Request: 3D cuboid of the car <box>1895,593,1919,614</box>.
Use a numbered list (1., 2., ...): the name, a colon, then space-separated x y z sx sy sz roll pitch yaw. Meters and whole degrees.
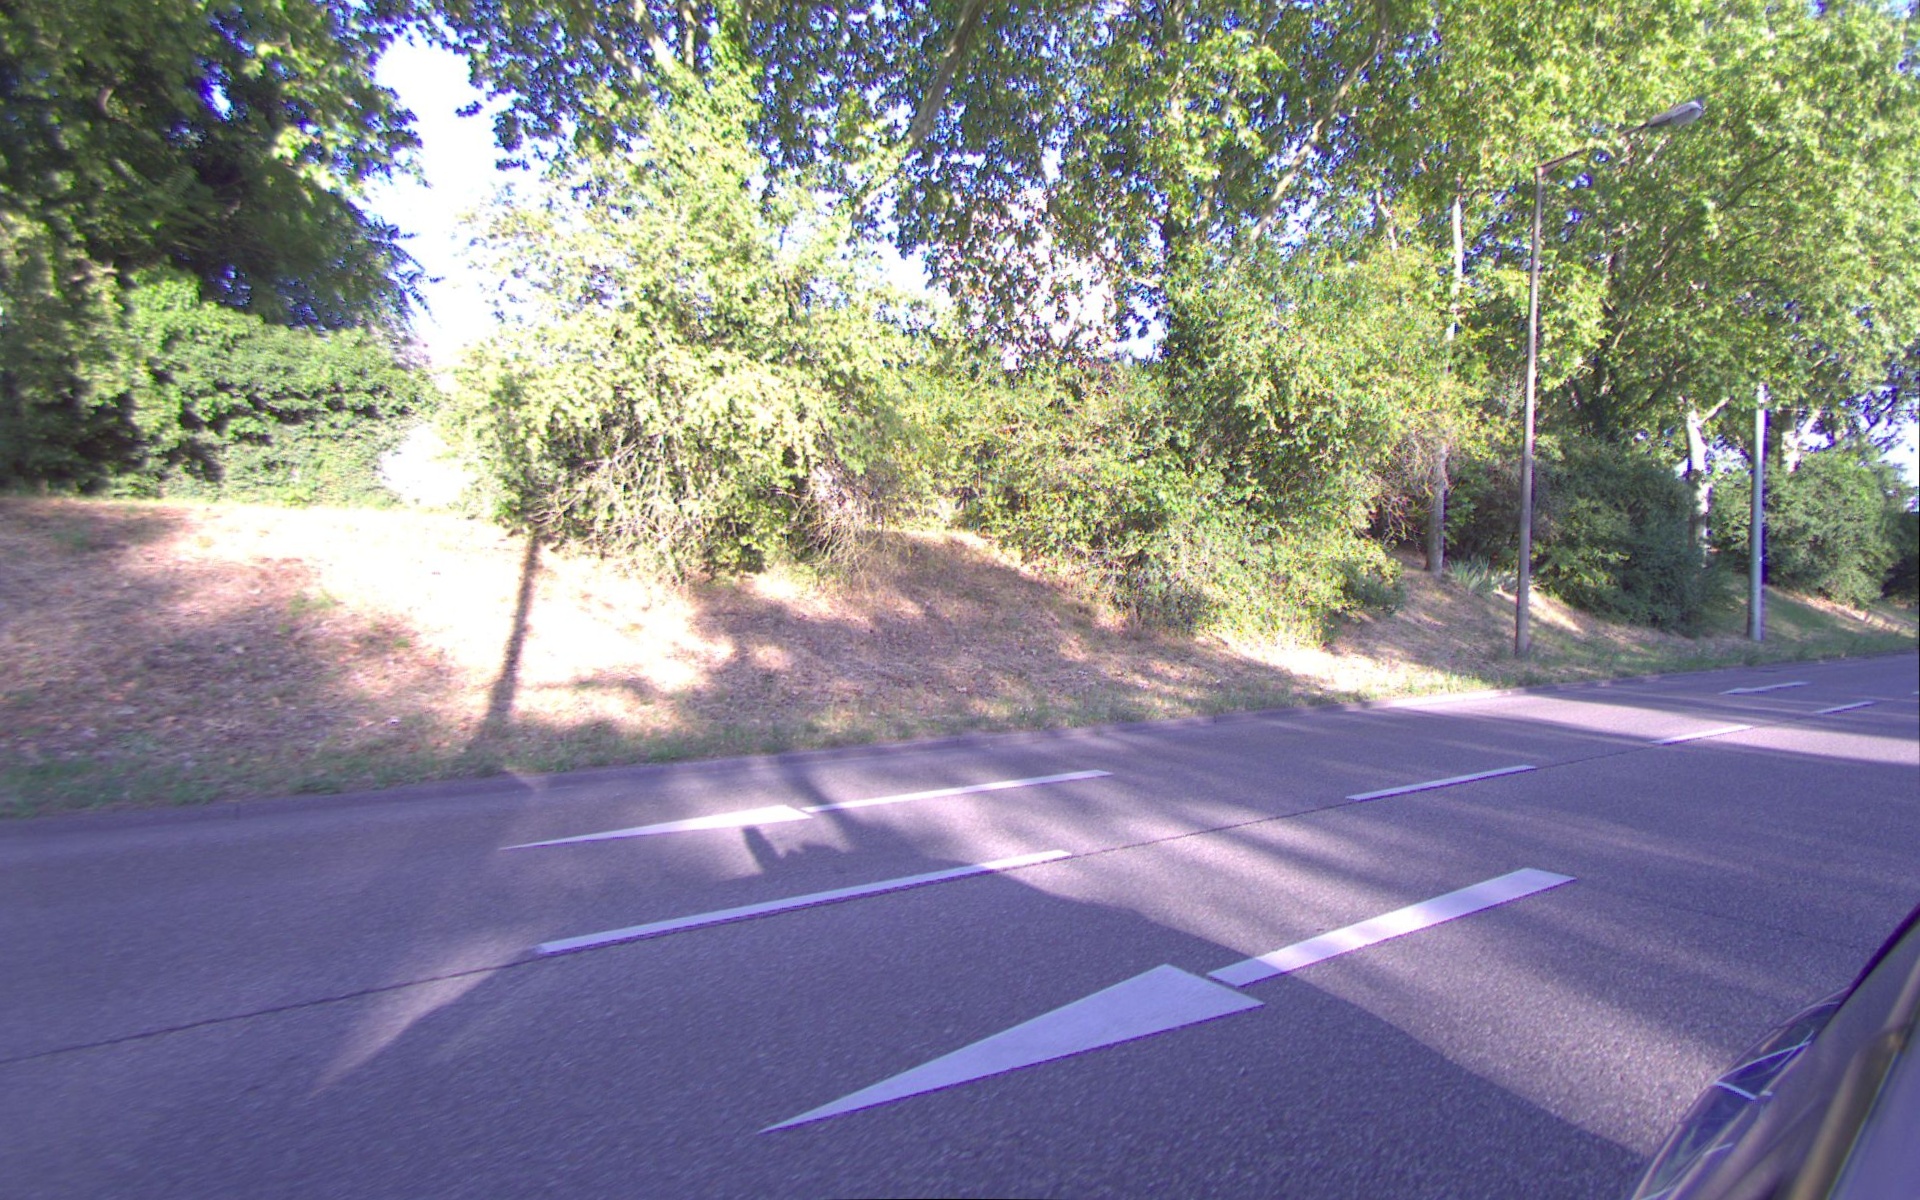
1. car: 67.010 0.274 69.271 1.681 1.370 4.103 0 2 -26
